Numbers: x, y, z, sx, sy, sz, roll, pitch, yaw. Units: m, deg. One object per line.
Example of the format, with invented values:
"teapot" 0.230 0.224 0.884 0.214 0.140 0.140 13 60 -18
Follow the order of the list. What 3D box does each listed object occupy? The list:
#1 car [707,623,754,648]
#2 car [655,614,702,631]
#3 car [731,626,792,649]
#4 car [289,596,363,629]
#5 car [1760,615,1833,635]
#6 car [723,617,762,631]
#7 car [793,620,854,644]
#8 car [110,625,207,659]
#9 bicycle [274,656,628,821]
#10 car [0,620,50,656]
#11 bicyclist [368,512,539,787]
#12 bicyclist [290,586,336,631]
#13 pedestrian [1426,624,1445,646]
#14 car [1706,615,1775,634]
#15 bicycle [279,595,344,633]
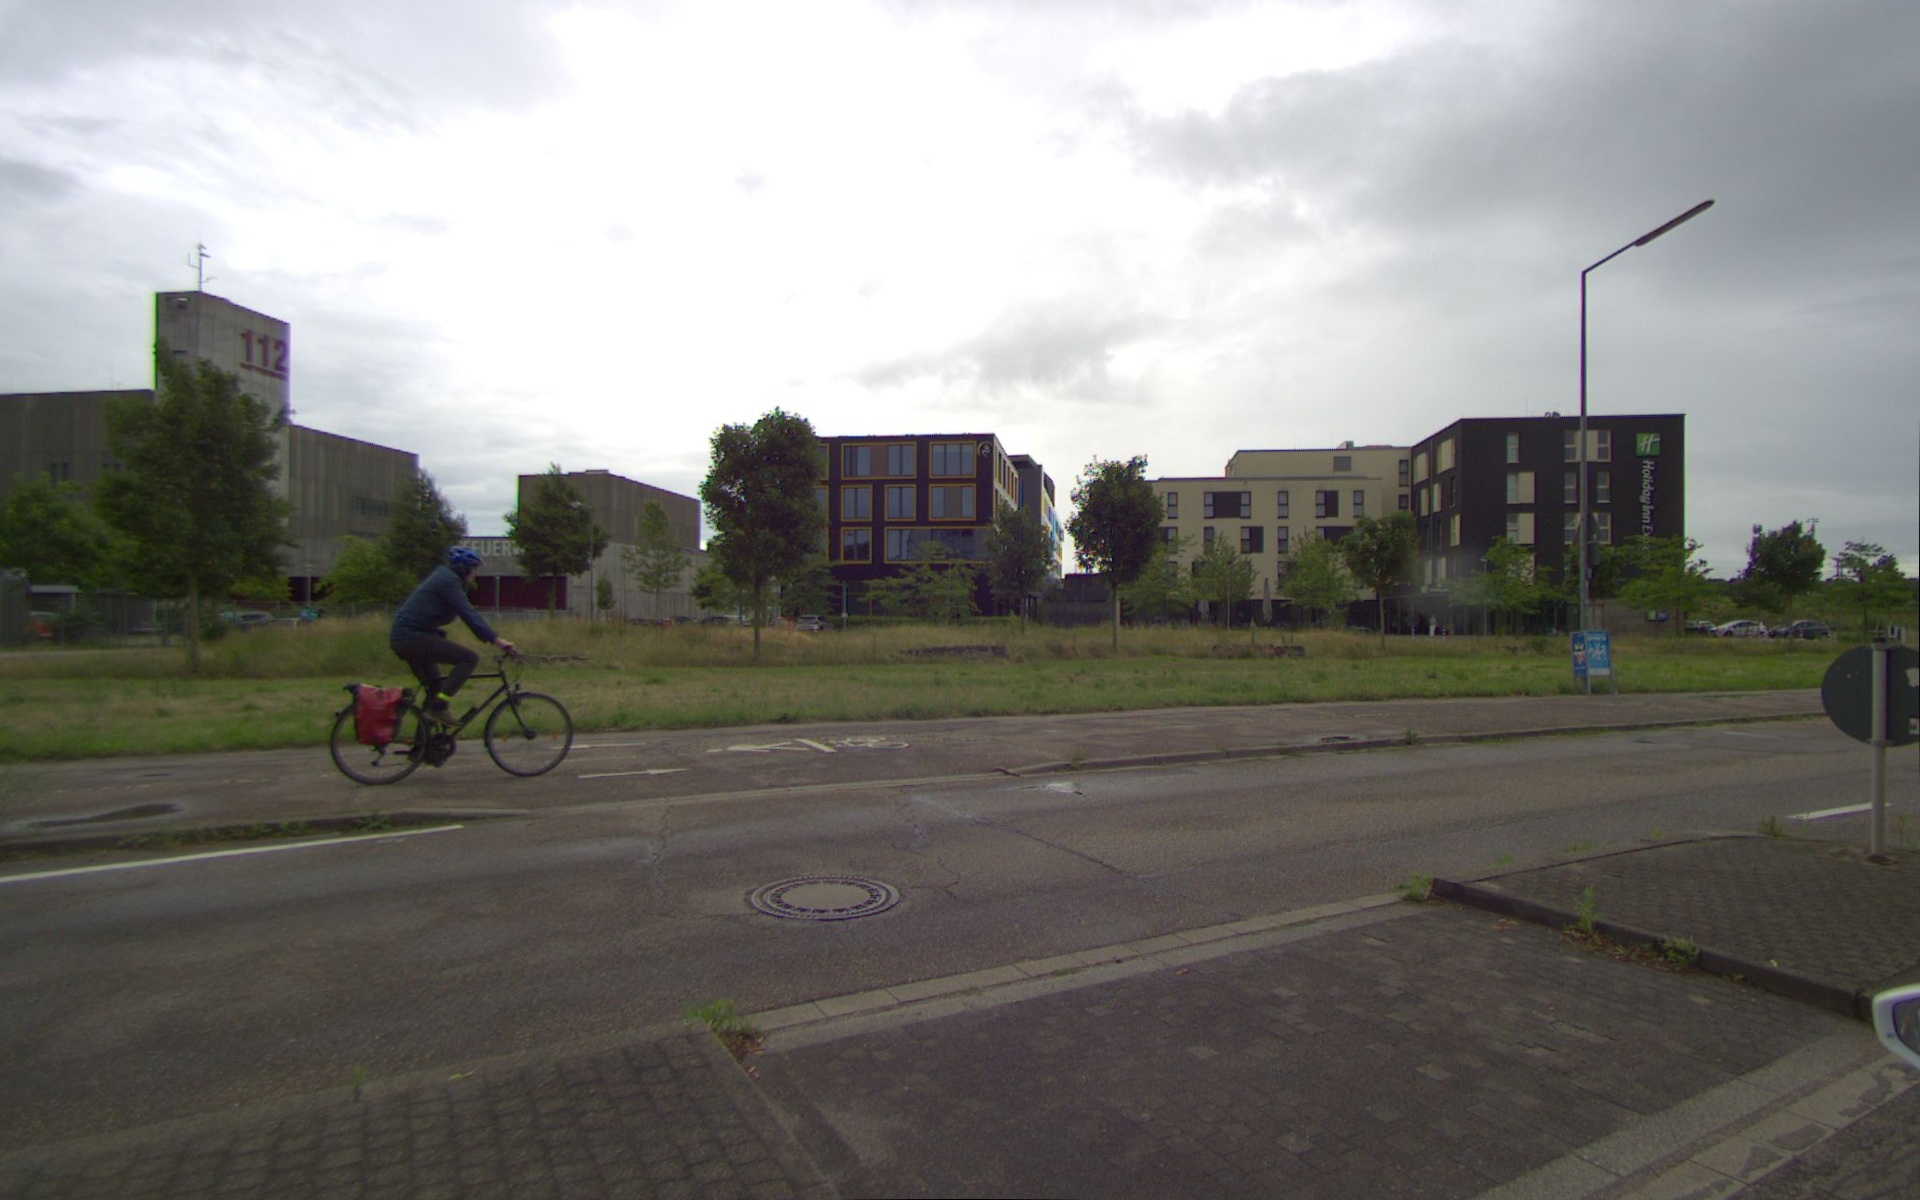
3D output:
"car" -18.521 2.856 81.465 2.163 1.889 5.101 -1 -1 6
"car" -26.755 2.171 95.608 3.920 1.543 1.811 -1 -2 2
"car" -14.372 2.726 72.902 3.920 1.543 2.001 -1 -2 3
"car" -39.907 0.789 63.334 1.960 2.040 4.001 -1 -1 3
"car" 63.001 1.884 75.703 3.919 1.461 1.699 -1 -1 6
"car" -24.647 2.717 114.060 3.920 1.543 2.001 -1 -2 3
"car" -9.463 2.240 69.809 3.920 1.543 2.001 -1 -2 3
"car" -44.899 2.327 56.397 1.778 1.762 4.003 0 -1 13
"bicycle" -4.049 1.043 8.157 2.440 1.066 0.879 0 -1 -31
"car" -43.716 1.694 45.104 1.737 1.617 4.003 0 -1 10
"bicyclist" -4.103 0.373 8.131 1.164 2.040 0.857 0 0 -32
"bicyclist" -28.327 0.356 43.993 1.055 1.924 1.403 -1 0 6
"pedestrian" 34.939 2.535 73.843 0.860 1.591 0.952 -1 0 -9
"car" 64.452 1.993 82.982 4.071 1.537 2.000 -1 -1 0
"bicycle" -28.346 0.592 43.968 1.064 1.605 2.501 -1 -1 6
